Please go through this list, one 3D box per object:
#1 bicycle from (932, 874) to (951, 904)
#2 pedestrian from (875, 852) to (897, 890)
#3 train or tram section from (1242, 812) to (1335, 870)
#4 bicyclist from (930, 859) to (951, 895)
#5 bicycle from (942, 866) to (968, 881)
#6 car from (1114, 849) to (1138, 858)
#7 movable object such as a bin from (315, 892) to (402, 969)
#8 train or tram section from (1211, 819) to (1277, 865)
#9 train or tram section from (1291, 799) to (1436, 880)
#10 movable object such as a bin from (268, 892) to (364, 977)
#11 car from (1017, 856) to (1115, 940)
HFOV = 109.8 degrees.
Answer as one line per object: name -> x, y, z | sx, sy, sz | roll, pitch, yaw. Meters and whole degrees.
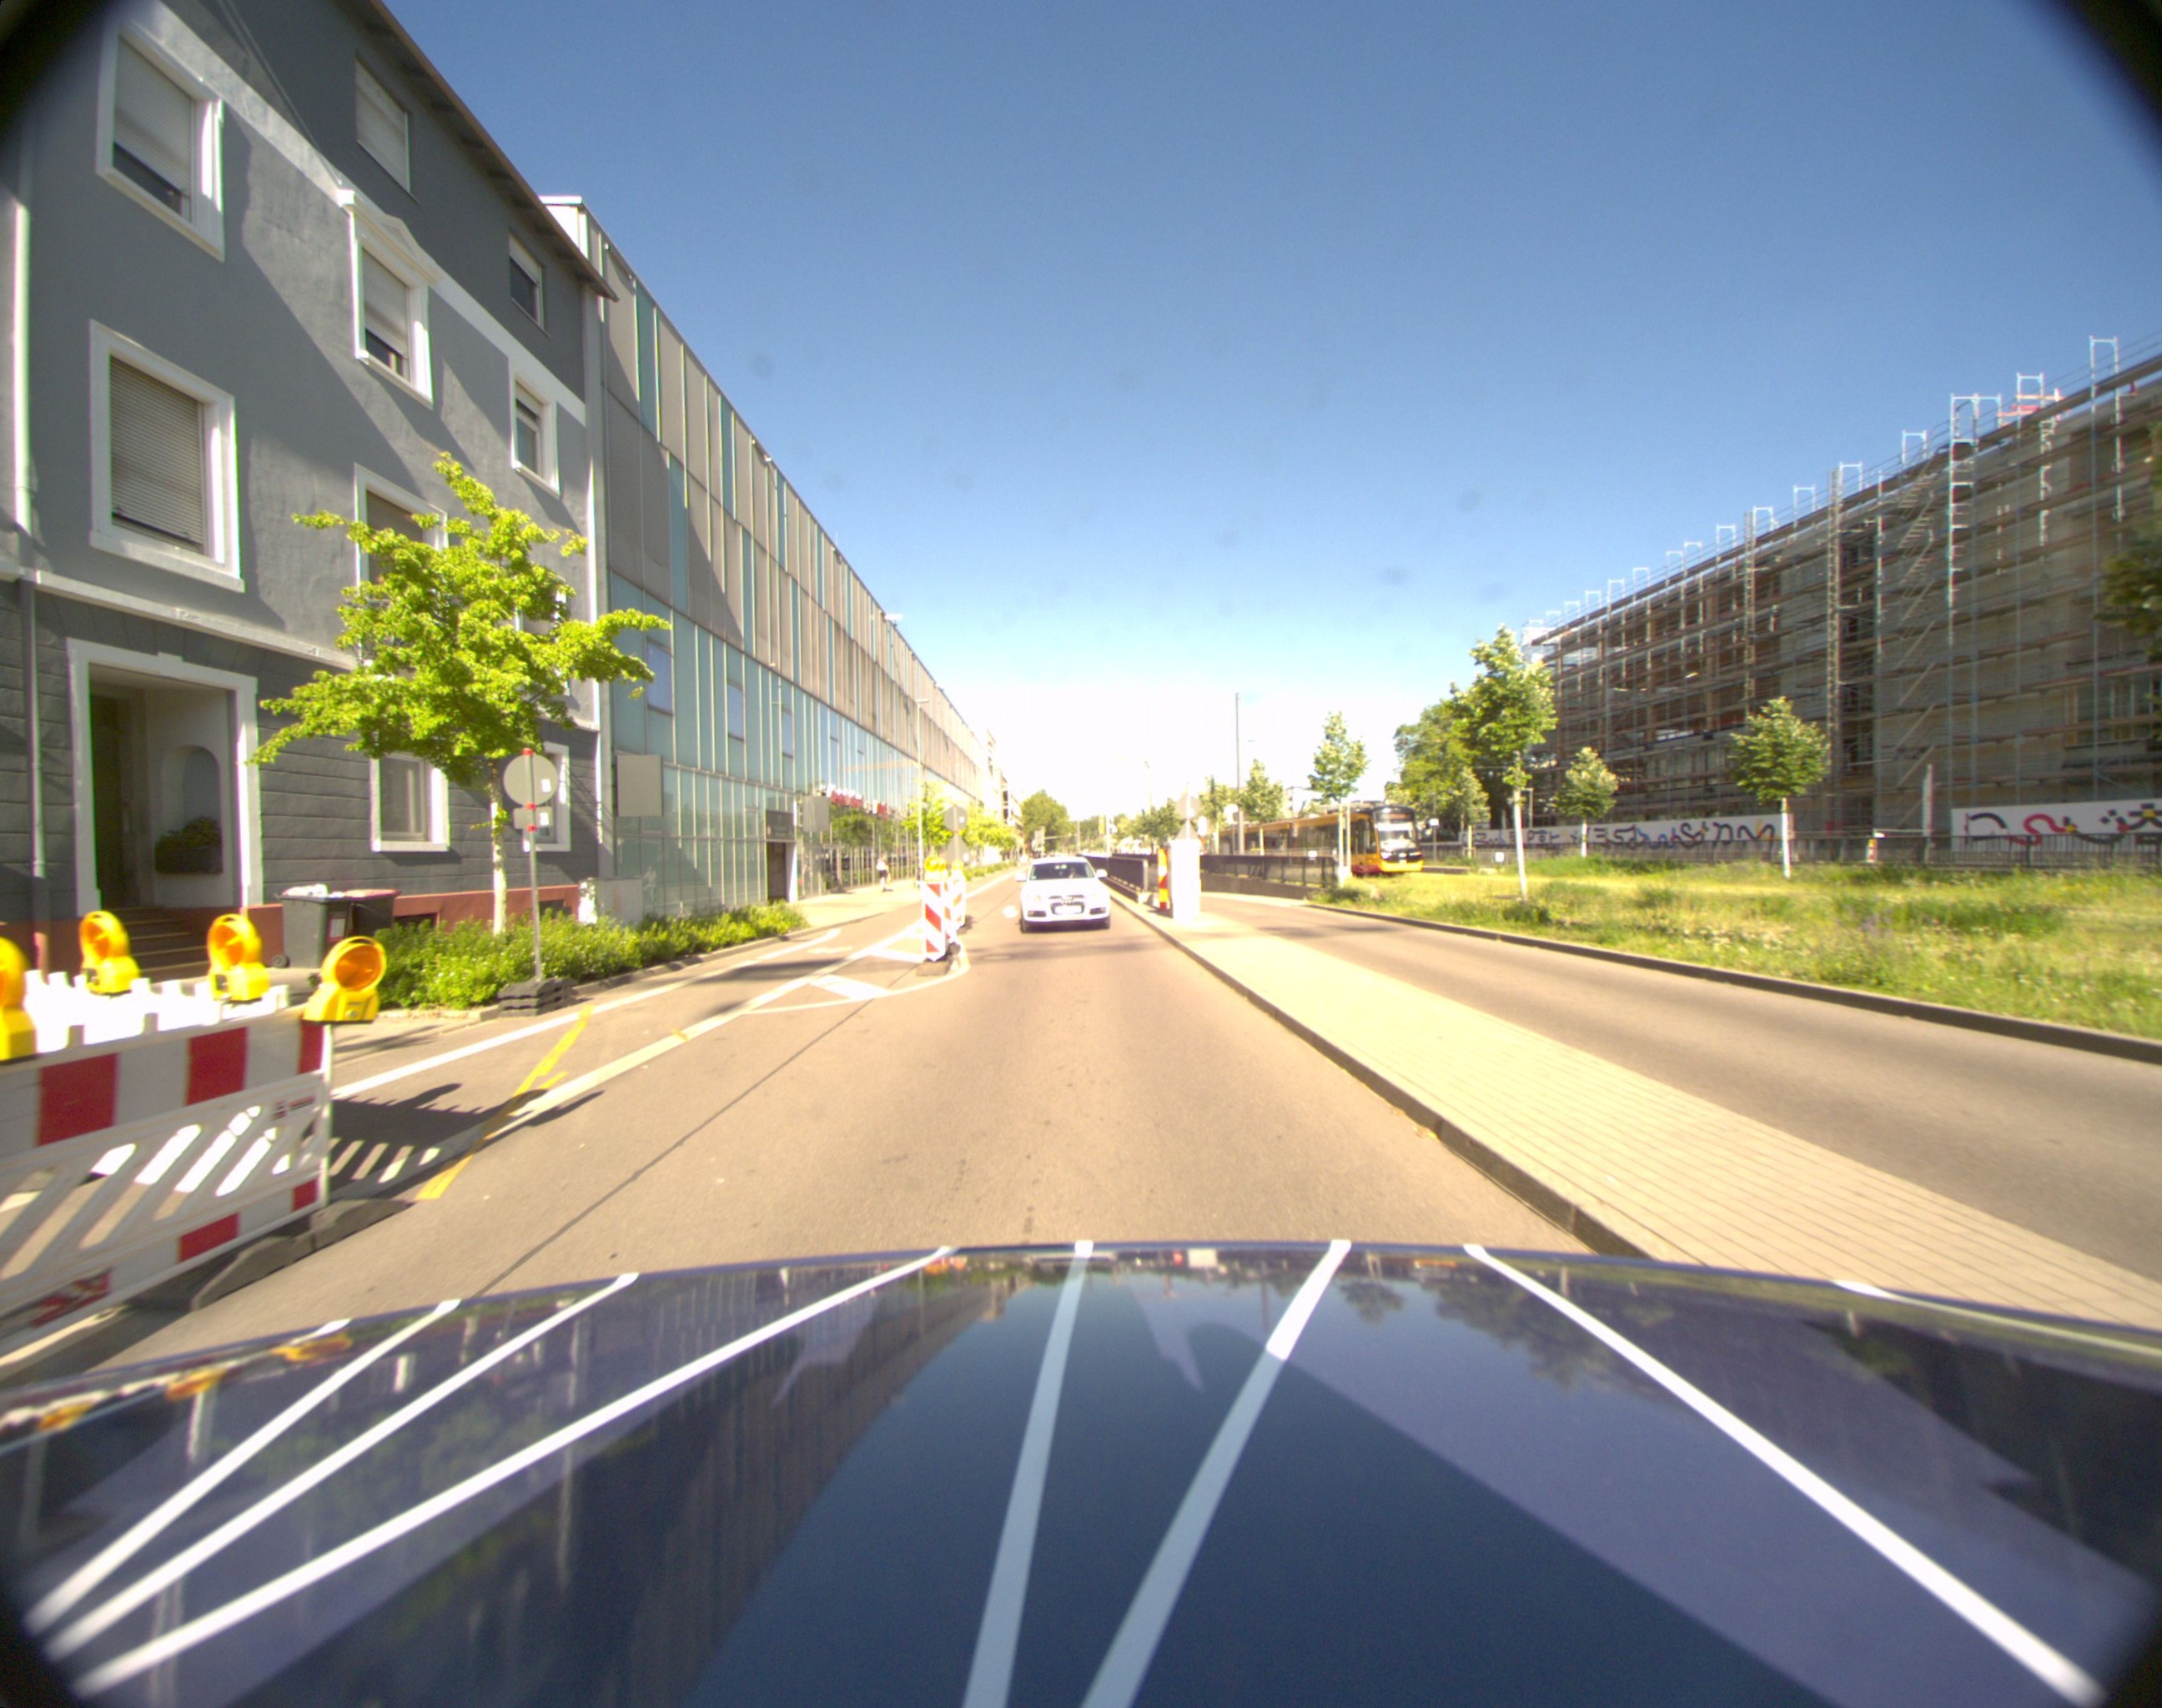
bicycle -> -5.848, 1.448, 31.841 | 0.610, 1.144, 1.986 | -1, 1, -6
pedestrian -> -10.087, 0.876, 39.290 | 0.877, 1.914, 0.895 | 2, 3, -2
train or tram section -> 14.242, -0.865, 53.560 | 2.823, 3.617, 12.786 | 0, 1, -1
bicyclist -> -5.876, 0.965, 31.827 | 0.756, 1.454, 0.587 | -2, 1, -7
bicycle -> -8.711, 1.352, 52.615 | 1.741, 1.056, 0.467 | 2, 0, -17
car -> 7.692, -0.093, 130.143 | 3.802, 1.527, 1.785 | -2, 1, -5
movable object such as a bin -> -10.858, 1.130, 11.445 | 0.604, 1.076, 0.703 | -1, 0, 0
train or tram section -> 13.944, -1.001, 66.356 | 2.823, 3.617, 12.786 | 0, 1, -1
train or tram section -> 14.537, -0.714, 40.766 | 2.823, 3.617, 12.786 | 0, 1, -1
movable object such as a bin -> -10.681, 1.109, 10.631 | 0.590, 1.101, 0.703 | -1, 0, 0
car -> -0.455, 0.900, 17.509 | 1.935, 1.624, 3.998 | -2, 0, -5
